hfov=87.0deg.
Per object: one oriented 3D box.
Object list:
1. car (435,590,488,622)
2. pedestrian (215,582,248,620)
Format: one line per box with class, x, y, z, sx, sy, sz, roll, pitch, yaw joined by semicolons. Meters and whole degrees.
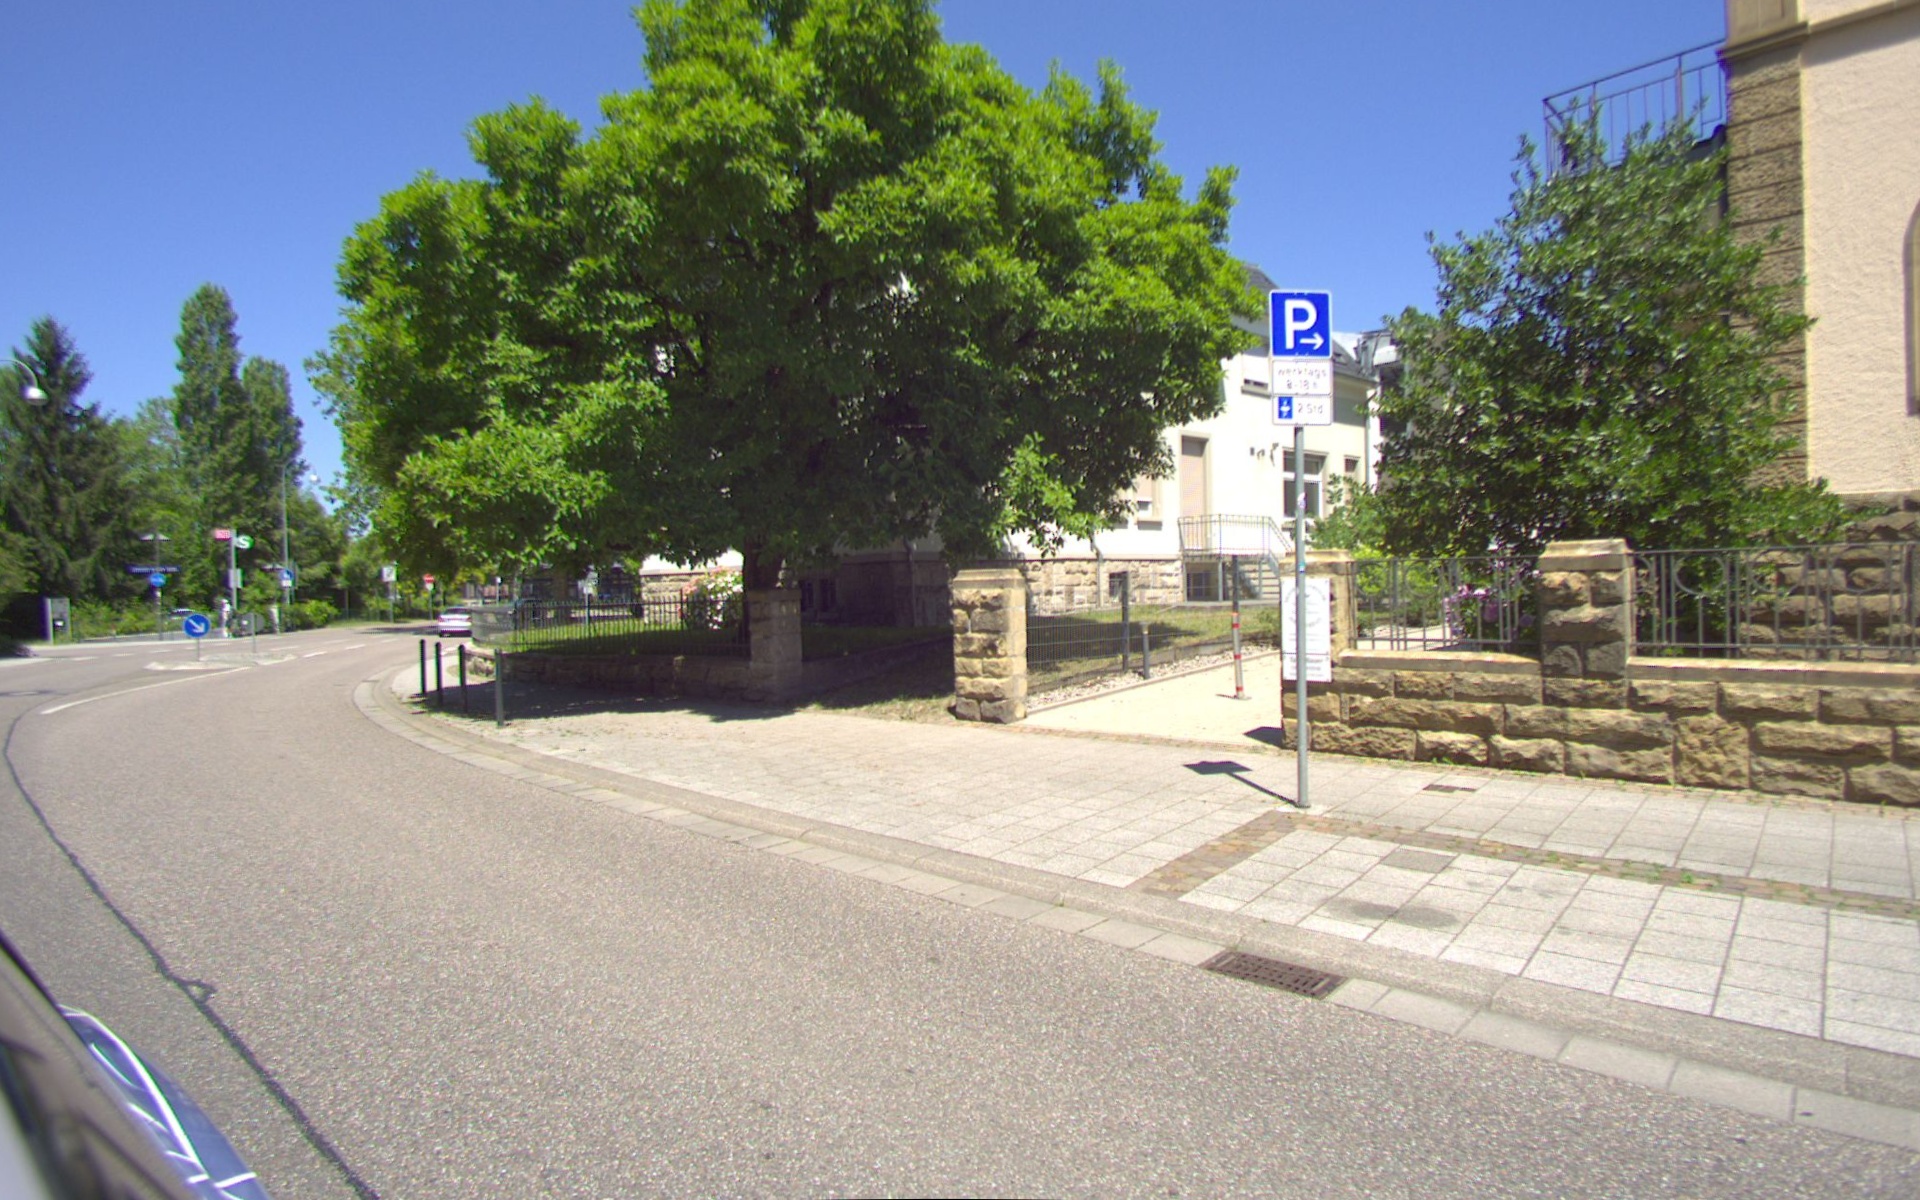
car;-23.818;0.285;48.479;1.734;1.446;4.317;0;0;-19
pedestrian;-34.412;0.040;47.803;0.903;1.785;0.915;1;0;2
